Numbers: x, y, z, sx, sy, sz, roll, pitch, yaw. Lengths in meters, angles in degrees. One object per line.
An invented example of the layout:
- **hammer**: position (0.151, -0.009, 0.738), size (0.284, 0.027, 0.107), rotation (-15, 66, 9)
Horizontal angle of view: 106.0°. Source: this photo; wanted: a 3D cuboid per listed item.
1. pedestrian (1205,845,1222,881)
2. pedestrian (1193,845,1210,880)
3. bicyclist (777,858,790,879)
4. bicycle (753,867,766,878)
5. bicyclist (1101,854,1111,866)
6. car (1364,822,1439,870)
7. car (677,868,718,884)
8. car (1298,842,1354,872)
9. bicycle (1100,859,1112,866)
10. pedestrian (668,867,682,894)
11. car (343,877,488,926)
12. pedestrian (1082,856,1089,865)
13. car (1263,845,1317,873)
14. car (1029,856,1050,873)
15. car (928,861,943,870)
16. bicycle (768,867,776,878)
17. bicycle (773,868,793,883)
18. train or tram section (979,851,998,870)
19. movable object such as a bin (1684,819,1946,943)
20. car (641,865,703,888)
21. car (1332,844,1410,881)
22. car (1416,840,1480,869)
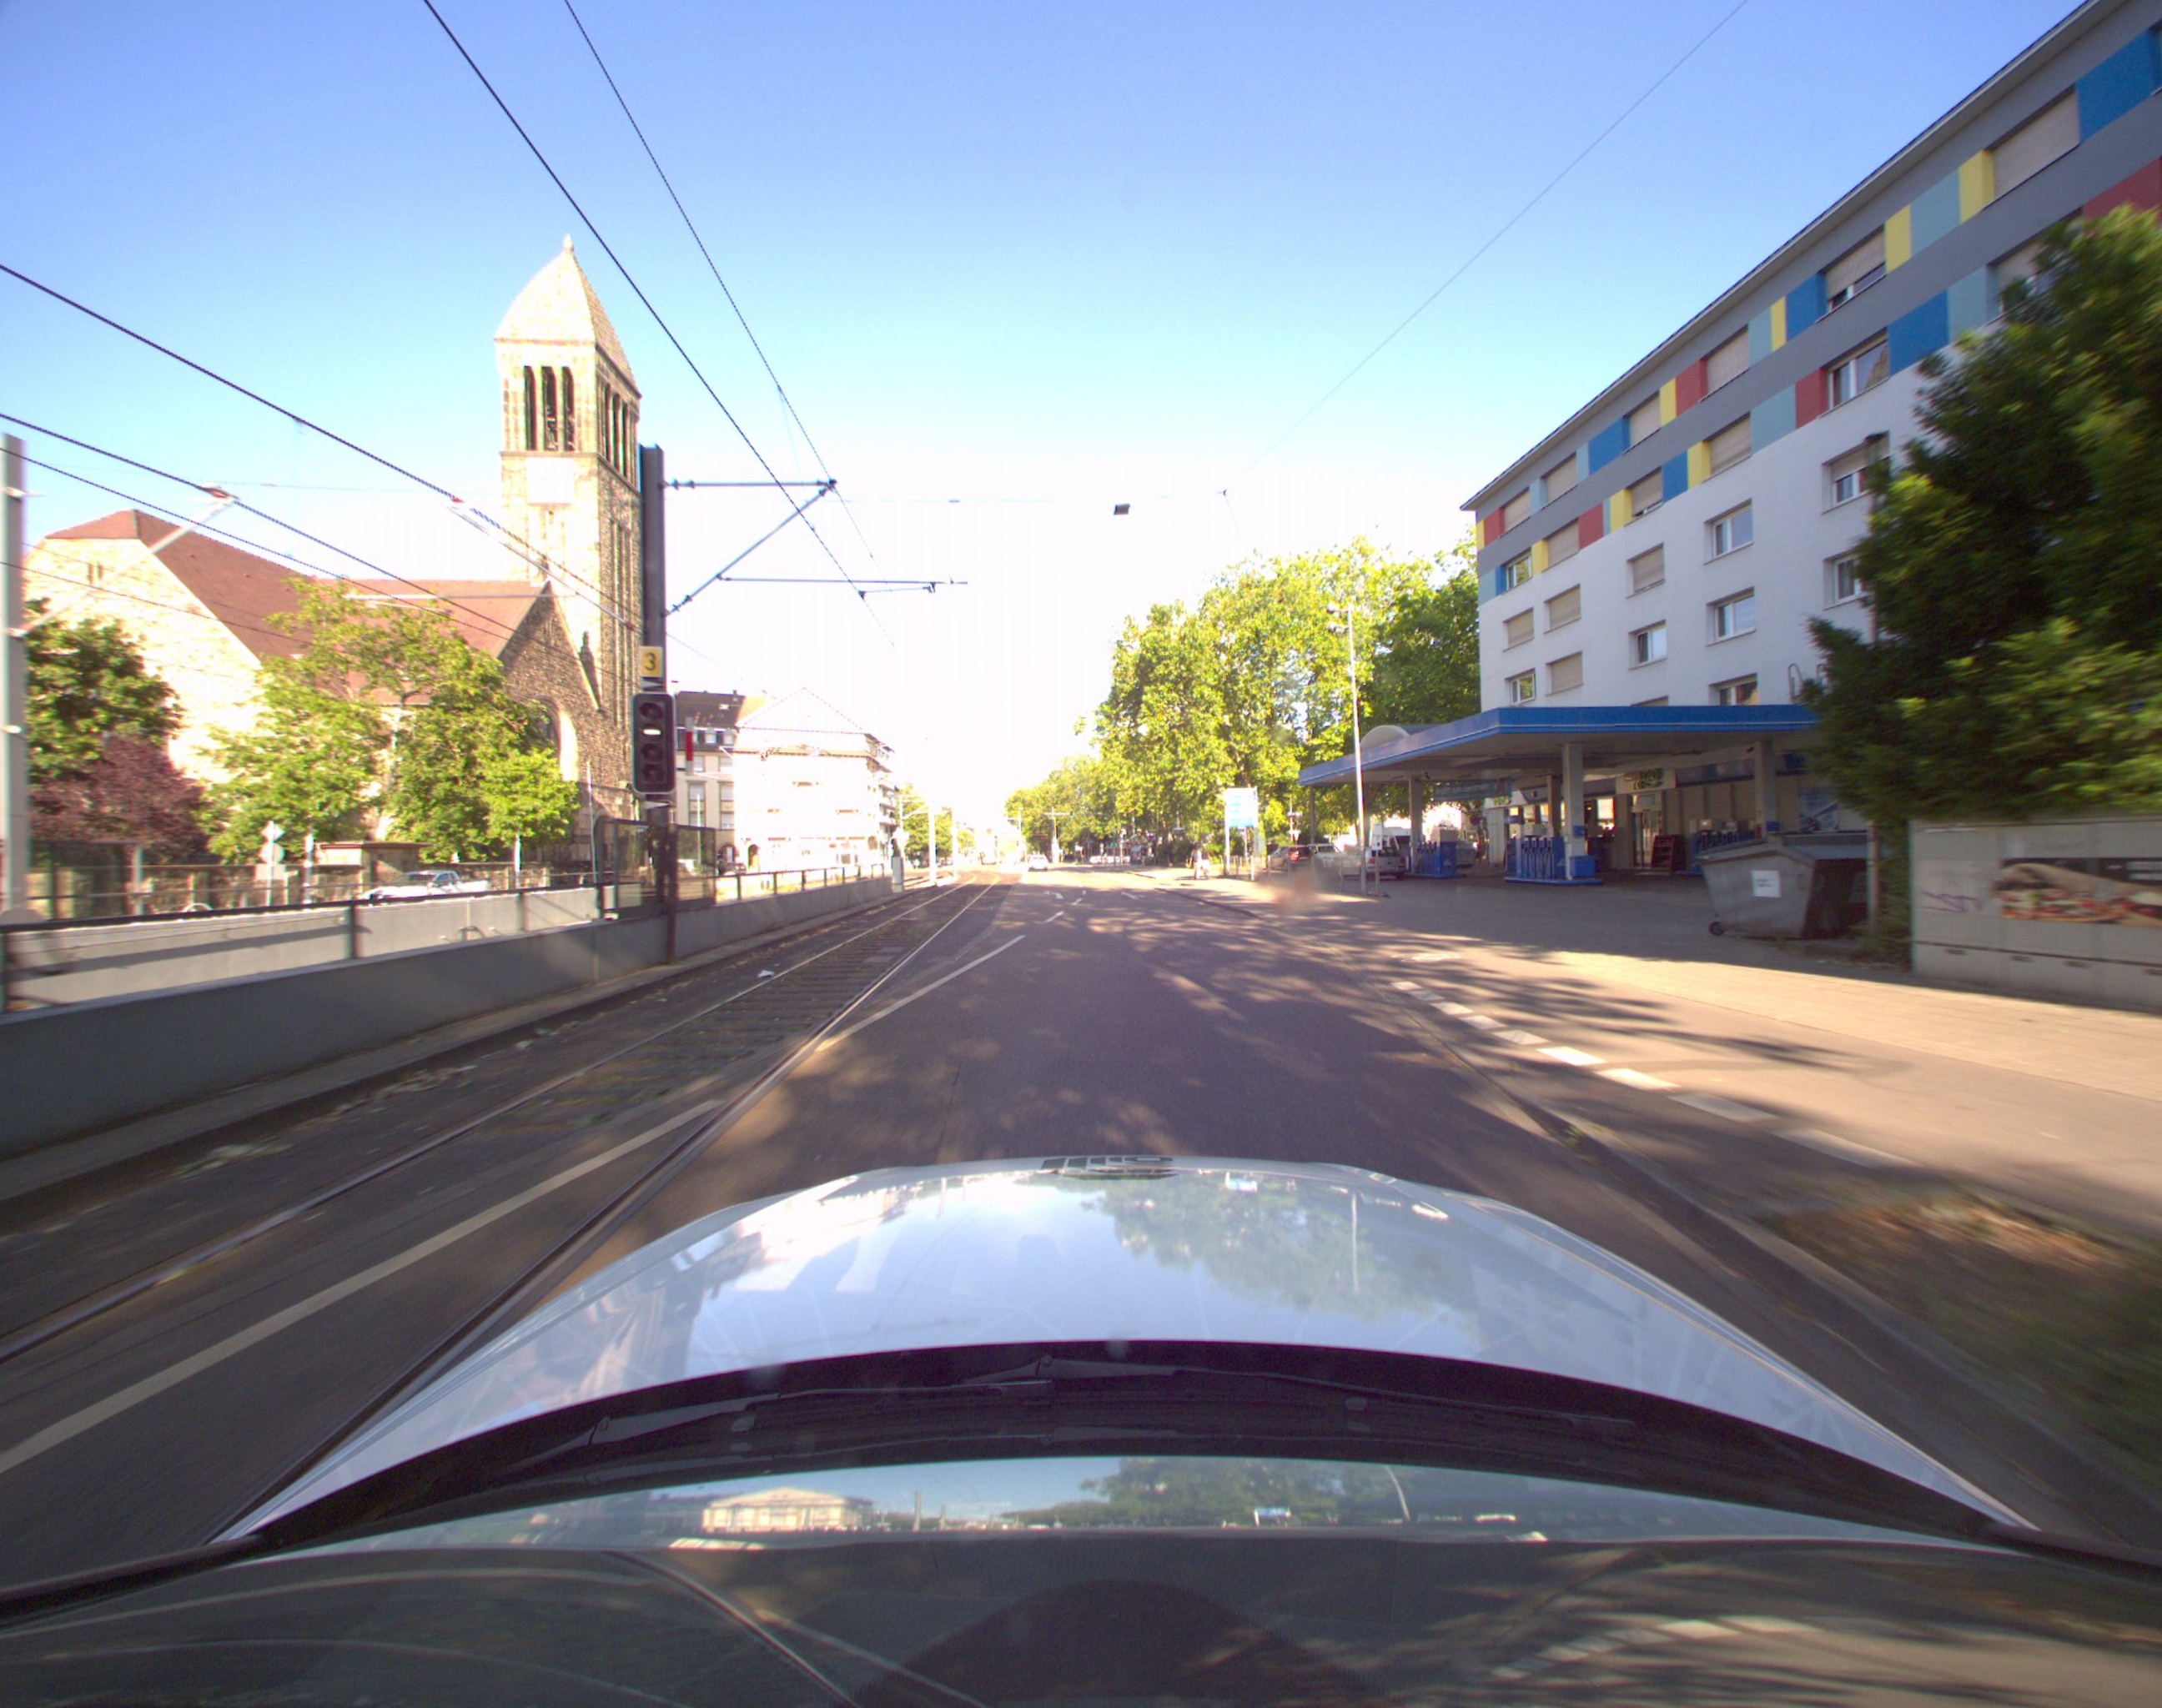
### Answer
- **pedestrian**: position (6.831, 0.449, 42.103), size (0.601, 1.776, 0.690), rotation (-5, 0, 0)
- **pedestrian**: position (6.191, 0.436, 41.990), size (0.601, 1.776, 0.879), rotation (-5, 0, 0)
- **bicyclist**: position (-24.735, 1.199, 67.655), size (0.629, 1.722, 0.916), rotation (-3, 0, 3)
- **bicycle**: position (-38.642, 2.216, 97.917), size (0.827, 1.283, 2.537), rotation (1, 0, -34)
- **bicyclist**: position (3.483, 0.800, 112.844), size (1.199, 1.696, 0.901), rotation (1, 0, -10)
- **car**: position (20.747, -0.480, 53.064), size (2.236, 2.833, 5.789), rotation (-2, 0, -3)
- **car**: position (-44.619, 2.530, 94.695), size (4.539, 1.753, 2.012), rotation (1, 0, 30)
- **car**: position (15.502, 0.135, 51.742), size (1.856, 1.735, 4.792), rotation (-2, 1, -4)
- **bicycle**: position (3.487, 1.178, 112.793), size (1.199, 0.934, 2.565), rotation (1, 0, -11)
- **pedestrian**: position (-28.458, 1.845, 57.054), size (0.603, 1.887, 0.756), rotation (1, 0, -1)
- **car**: position (-24.330, 1.680, 30.027), size (1.711, 1.555, 4.506), rotation (1, 0, -2)
- **pedestrian**: position (0.689, 1.020, 122.736), size (0.653, 1.388, 0.837), rotation (0, 0, 28)
- **car**: position (13.336, 0.280, 52.325), size (1.815, 1.602, 4.652), rotation (-2, 1, -6)
- **car**: position (-3.748, 0.959, 73.109), size (1.742, 1.462, 3.638), rotation (1, 0, -5)
- **car**: position (-26.137, 2.082, 146.766), size (1.989, 1.449, 4.834), rotation (-3, 0, -3)
- **bicycle**: position (-37.336, 2.234, 98.347), size (0.825, 1.283, 2.545), rotation (1, 0, -22)
- **bicycle**: position (-24.714, 1.746, 67.512), size (0.629, 1.144, 2.281), rotation (-4, 0, 3)
- **train or tram section**: position (-17.682, 1.228, 155.881), size (2.946, 3.410, 10.778), rotation (1, 0, -3)
- **movable object such as a bin**: position (9.855, 0.325, 11.065), size (2.034, 1.491, 1.741), rotation (-2, 0, -8)
- **car**: position (-32.744, 1.757, 65.271), size (3.976, 1.756, 1.893), rotation (1, 0, -2)
- **car**: position (12.254, 0.365, 34.664), size (1.564, 1.430, 4.092), rotation (-2, 0, -4)
- **car**: position (23.305, 0.020, 51.899), size (1.991, 1.739, 3.992), rotation (-1, 0, -6)
